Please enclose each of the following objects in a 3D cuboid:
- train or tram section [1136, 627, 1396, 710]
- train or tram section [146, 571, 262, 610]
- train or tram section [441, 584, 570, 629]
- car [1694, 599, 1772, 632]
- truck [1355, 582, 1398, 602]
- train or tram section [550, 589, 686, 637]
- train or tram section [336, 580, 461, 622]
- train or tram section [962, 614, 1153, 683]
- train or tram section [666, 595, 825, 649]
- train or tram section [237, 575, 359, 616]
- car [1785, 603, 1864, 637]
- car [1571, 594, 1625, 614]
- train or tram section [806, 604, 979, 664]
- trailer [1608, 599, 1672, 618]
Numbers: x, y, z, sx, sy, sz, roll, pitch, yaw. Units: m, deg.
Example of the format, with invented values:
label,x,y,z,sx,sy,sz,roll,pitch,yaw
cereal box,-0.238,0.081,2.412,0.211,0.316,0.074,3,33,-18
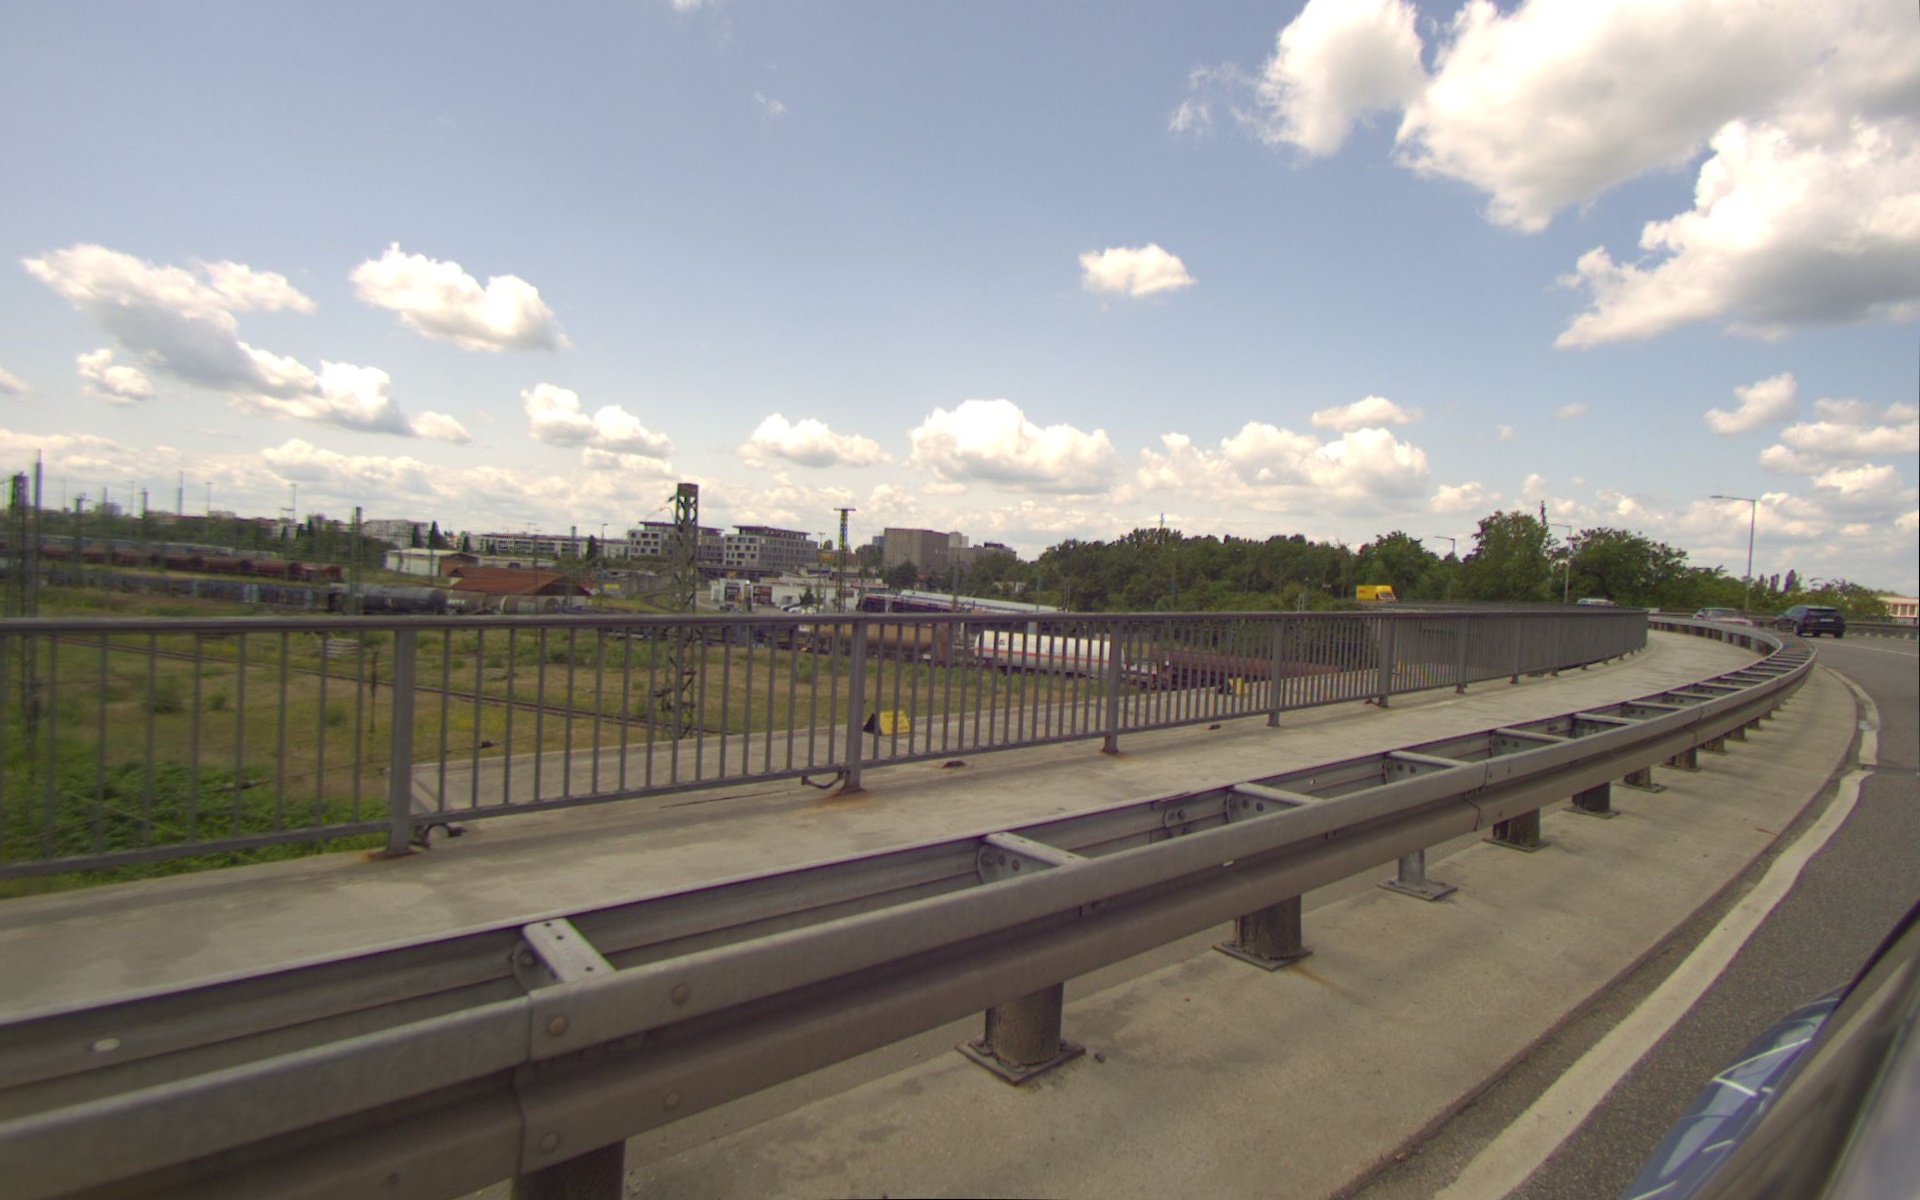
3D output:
label,x,y,z,sx,sy,sz,roll,pitch,yaw
train or tram section,22.699,4.945,76.797,18.778,4.201,3.182,4,5,35
train or tram section,-97.426,-1.328,130.360,15.746,4.202,3.198,2,4,17
train or tram section,-52.216,0.691,116.112,15.766,4.202,3.194,3,4,20
car,36.300,0.690,47.642,1.807,1.355,3.973,2,1,21
truck,48.490,-0.927,117.938,1.960,2.038,6.154,2,2,-6
train or tram section,-37.467,1.357,110.530,15.775,4.202,3.192,3,4,21
train or tram section,-67.232,0.026,121.155,15.752,4.202,3.197,3,4,18
train or tram section,8.047,3.965,86.912,16.853,4.202,3.181,4,5,34
train or tram section,-22.230,2.136,104.028,17.509,4.202,3.188,3,4,25
train or tram section,-82.330,-0.639,125.793,15.746,4.202,3.198,2,4,17
car,40.797,0.912,47.874,1.806,1.469,4.691,1,0,27
car,44.447,0.244,70.620,1.929,1.355,3.984,-1,0,13
train or tram section,-6.635,3.036,96.008,17.548,4.202,3.181,4,4,30
trailer,48.917,0.596,72.944,2.023,1.224,5.952,1,1,16
